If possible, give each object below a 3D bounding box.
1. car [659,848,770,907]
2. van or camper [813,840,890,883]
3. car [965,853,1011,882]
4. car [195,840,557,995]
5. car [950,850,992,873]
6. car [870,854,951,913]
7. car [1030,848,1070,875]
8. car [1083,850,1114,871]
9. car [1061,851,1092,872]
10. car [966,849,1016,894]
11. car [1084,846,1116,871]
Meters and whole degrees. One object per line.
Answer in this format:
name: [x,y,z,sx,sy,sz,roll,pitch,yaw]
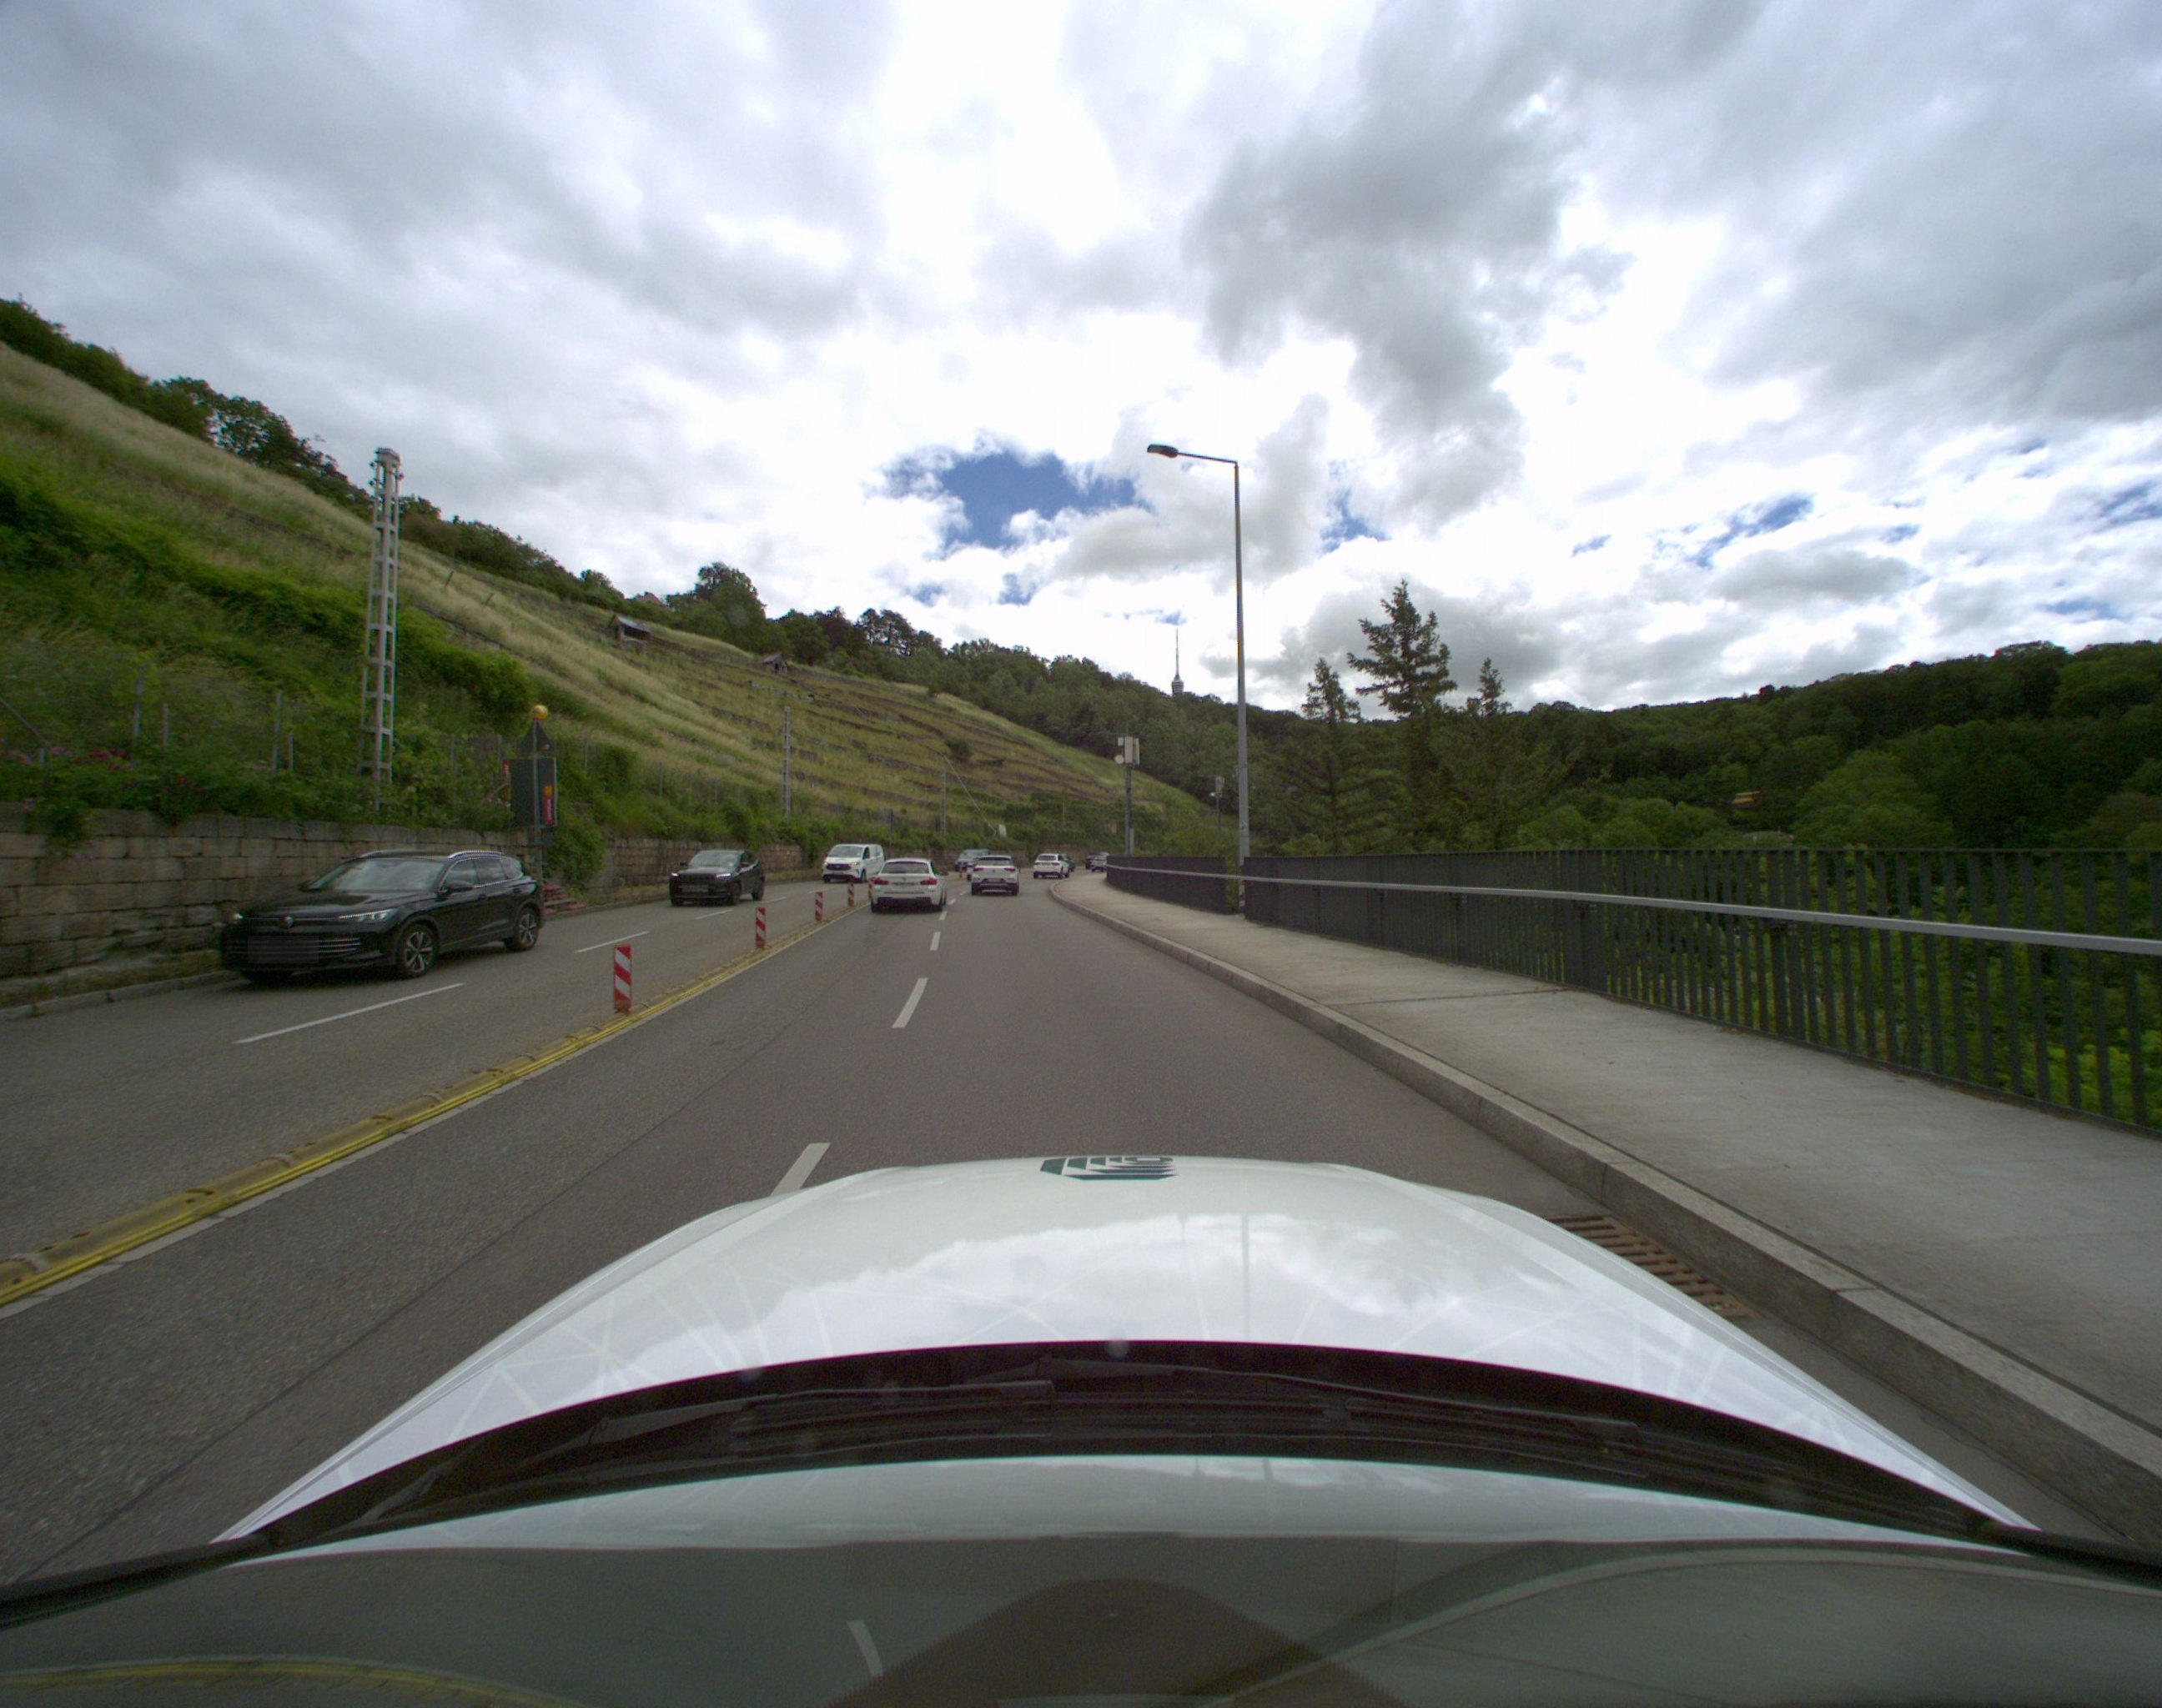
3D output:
car: [-11.030,0.648,24.847,1.863,1.624,4.337,0,0,-7]
van or camper: [-11.703,0.347,41.912,2.138,2.016,4.970,1,0,4]
car: [-5.458,0.774,48.349,1.986,1.503,4.669,-4,-1,2]
car: [-9.702,0.702,11.821,1.843,1.725,4.449,-1,2,-9]
car: [-8.784,0.584,65.427,1.839,1.782,4.748,1,0,11]
car: [-4.725,0.753,23.125,1.826,1.459,4.475,0,1,-7]
car: [-2.019,0.534,54.100,1.982,1.718,4.122,-1,-1,8]
car: [1.710,0.635,79.127,1.854,1.762,4.018,-2,-4,18]
car: [-0.430,0.753,79.561,1.854,1.762,4.018,-2,-4,18]
car: [-3.573,0.690,32.555,1.825,1.606,3.992,-2,-1,-5]
car: [1.731,0.405,71.524,1.980,2.014,4.013,-3,-2,12]
